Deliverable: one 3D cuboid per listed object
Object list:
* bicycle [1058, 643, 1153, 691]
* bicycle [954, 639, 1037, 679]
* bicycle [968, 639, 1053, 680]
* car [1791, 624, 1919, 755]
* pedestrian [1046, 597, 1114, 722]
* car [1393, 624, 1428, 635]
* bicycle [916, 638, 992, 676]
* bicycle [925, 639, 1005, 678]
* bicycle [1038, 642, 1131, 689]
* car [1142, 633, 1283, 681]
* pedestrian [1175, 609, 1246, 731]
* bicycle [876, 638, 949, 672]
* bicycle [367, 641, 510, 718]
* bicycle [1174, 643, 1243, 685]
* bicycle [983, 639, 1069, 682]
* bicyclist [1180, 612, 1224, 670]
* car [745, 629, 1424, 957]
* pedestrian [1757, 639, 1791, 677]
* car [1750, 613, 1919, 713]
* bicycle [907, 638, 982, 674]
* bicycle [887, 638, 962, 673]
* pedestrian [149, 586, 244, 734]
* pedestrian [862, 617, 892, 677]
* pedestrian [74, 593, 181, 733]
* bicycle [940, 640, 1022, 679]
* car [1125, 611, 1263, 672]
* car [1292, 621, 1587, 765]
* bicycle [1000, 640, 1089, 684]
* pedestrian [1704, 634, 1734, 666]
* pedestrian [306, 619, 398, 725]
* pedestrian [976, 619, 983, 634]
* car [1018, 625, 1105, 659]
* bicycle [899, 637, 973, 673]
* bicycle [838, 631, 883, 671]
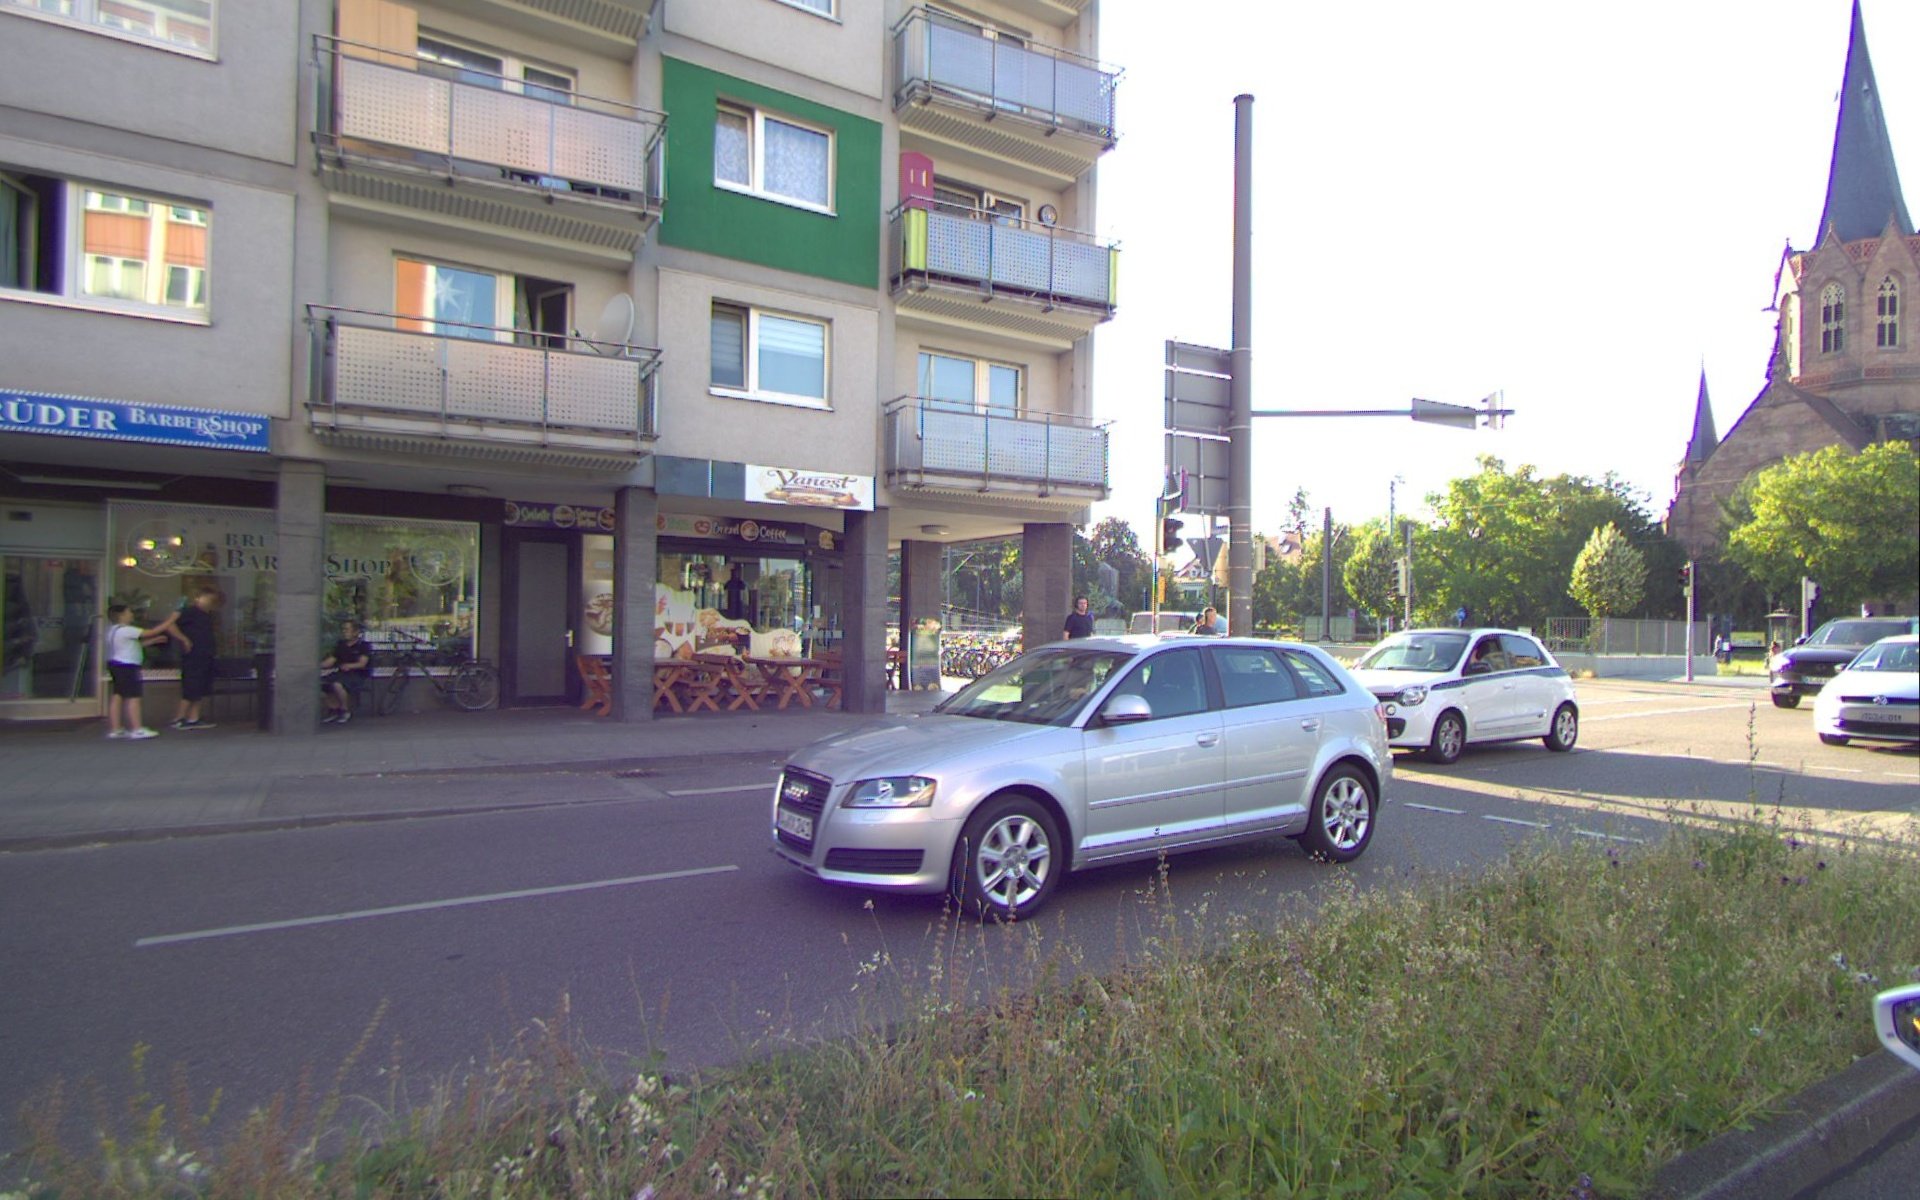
[{"bbox_3d":[3.452,1.571,23.679,2.273,1.065,0.731,2,-1,-31],"label":"bicycle"},{"bbox_3d":[1.007,1.623,27.893,2.273,1.065,0.731,2,-2,-31],"label":"bicycle"},{"bbox_3d":[1.370,1.598,27.213,2.273,1.065,0.731,2,-2,-31],"label":"bicycle"},{"bbox_3d":[12.885,1.116,13.338,3.762,1.565,1.667,1,-2,-31],"label":"car"},{"bbox_3d":[1.896,0.923,15.844,0.802,1.900,0.605,1,2,-30],"label":"pedestrian"},{"bbox_3d":[67.667,4.397,150.942,1.985,1.592,4.411,2,-2,-41],"label":"car"},{"bbox_3d":[-0.157,1.692,29.850,2.273,1.065,0.558,2,-2,-31],"label":"bicycle"},{"bbox_3d":[0.168,1.696,29.265,2.273,1.065,0.731,2,-2,-31],"label":"bicycle"},{"bbox_3d":[3.029,1.577,24.363,2.273,1.065,0.731,2,-2,-31],"label":"bicycle"},{"bbox_3d":[7.710,1.711,31.006,1.781,1.330,4.165,2,-2,-32],"label":"car"},{"bbox_3d":[3.880,1.063,15.576,0.802,1.811,0.606,1,2,-27],"label":"pedestrian"},{"bbox_3d":[-1.518,1.767,32.242,2.273,1.065,0.731,2,-2,-31],"label":"bicycle"},{"bbox_3d":[-7.363,1.100,14.223,1.684,1.012,0.619,2,-2,-40],"label":"bicycle"},{"bbox_3d":[7.000,1.785,28.386,0.940,1.112,1.769,1,-2,-30],"label":"bicycle"},{"bbox_3d":[1.756,1.588,26.523,2.273,1.065,0.731,2,-2,-31],"label":"bicycle"},{"bbox_3d":[6.886,1.169,28.593,0.952,1.619,0.732,1,-2,-30],"label":"bicyclist"},{"bbox_3d":[0.891,0.920,6.270,4.057,1.444,1.700,1,-3,-32],"label":"car"},{"bbox_3d":[38.958,2.769,48.061,0.827,1.719,1.017,2,0,8],"label":"pedestrian"},{"bbox_3d":[17.368,1.157,19.317,4.730,1.733,1.807,1,-2,-31],"label":"car"},{"bbox_3d":[-0.451,1.685,30.359,2.273,1.065,0.558,2,-2,-31],"label":"bicycle"},{"bbox_3d":[-1.113,1.737,31.553,2.273,1.065,0.731,2,-2,-31],"label":"bicycle"},{"bbox_3d":[-9.111,0.699,12.005,0.613,1.694,0.658,0,-1,24],"label":"pedestrian"},{"bbox_3d":[-2.455,1.379,29.776,0.677,1.745,0.605,1,-1,-31],"label":"pedestrian"},{"bbox_3d":[-9.107,0.682,11.009,0.614,1.486,0.658,1,-1,-9],"label":"pedestrian"},{"bbox_3d":[0.606,1.682,28.584,2.273,1.065,0.731,2,-2,-31],"label":"bicycle"},{"bbox_3d":[8.331,1.461,36.230,1.978,2.040,4.896,2,-2,-32],"label":"car"},{"bbox_3d":[6.066,1.076,12.634,3.597,1.565,1.667,1,-2,-32],"label":"car"},{"bbox_3d":[2.170,1.580,25.713,2.273,1.065,0.731,2,-2,-31],"label":"bicycle"},{"bbox_3d":[42.637,2.789,56.447,0.831,1.719,1.013,2,0,-18],"label":"pedestrian"},{"bbox_3d":[-7.957,0.922,13.170,0.613,1.331,0.811,0,-1,16],"label":"pedestrian"},{"bbox_3d":[2.327,3.118,118.449,0.677,1.847,0.531,2,-1,-27],"label":"pedestrian"},{"bbox_3d":[4.353,1.806,43.586,1.781,1.392,3.880,2,-2,-32],"label":"car"},{"bbox_3d":[-0.728,1.688,30.868,2.273,1.065,0.642,2,-2,-31],"label":"bicycle"},{"bbox_3d":[-2.952,1.478,29.487,0.514,1.106,2.050,1,-2,-30],"label":"bicycle"}]
